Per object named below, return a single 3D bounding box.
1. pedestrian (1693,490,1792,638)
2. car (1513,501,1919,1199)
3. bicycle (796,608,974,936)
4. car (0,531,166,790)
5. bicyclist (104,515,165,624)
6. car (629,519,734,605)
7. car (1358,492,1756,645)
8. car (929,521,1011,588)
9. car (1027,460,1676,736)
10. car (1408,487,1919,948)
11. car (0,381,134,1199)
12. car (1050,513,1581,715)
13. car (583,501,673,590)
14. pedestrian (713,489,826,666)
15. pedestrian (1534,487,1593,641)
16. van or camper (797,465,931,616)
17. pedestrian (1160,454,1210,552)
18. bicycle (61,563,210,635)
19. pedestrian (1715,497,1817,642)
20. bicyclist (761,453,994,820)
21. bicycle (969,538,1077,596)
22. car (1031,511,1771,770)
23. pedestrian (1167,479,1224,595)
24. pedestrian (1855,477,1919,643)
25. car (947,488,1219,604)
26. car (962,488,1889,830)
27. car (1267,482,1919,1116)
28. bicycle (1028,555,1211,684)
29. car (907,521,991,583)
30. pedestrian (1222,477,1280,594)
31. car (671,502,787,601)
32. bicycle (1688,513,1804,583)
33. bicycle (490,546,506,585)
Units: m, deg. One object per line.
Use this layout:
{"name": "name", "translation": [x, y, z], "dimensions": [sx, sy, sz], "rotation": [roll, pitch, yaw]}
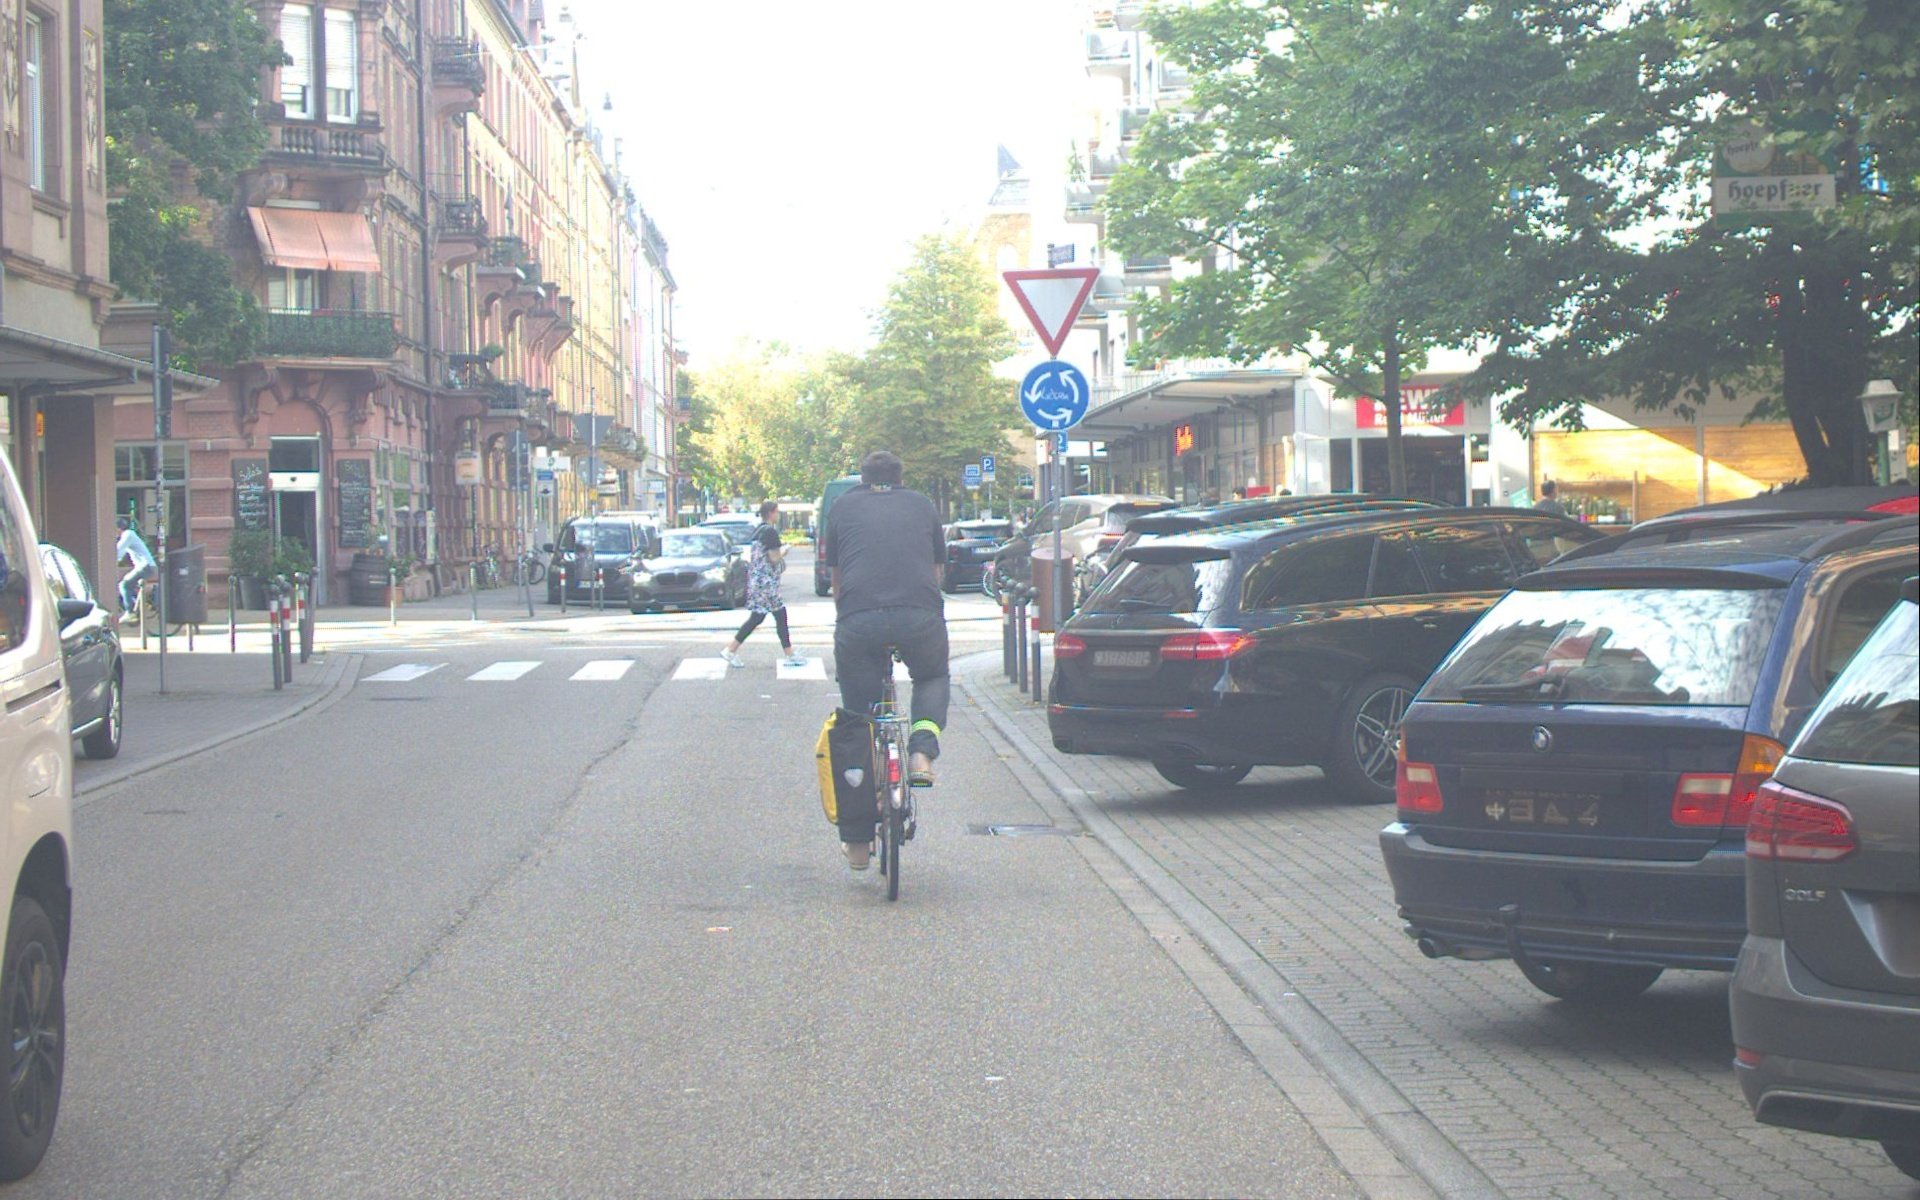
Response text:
{"name": "pedestrian", "translation": [7.489, -0.345, 32.922], "dimensions": [0.756, 1.387, 0.549], "rotation": [-1, 1, -6]}
{"name": "car", "translation": [3.425, 0.451, 7.643], "dimensions": [4.457, 1.472, 1.888], "rotation": [-6, 4, -42]}
{"name": "bicycle", "translation": [-0.335, 0.651, 14.164], "dimensions": [0.665, 1.174, 2.497], "rotation": [0, 1, -3]}
{"name": "car", "translation": [-6.271, 0.315, 21.102], "dimensions": [1.993, 1.415, 4.245], "rotation": [-1, 1, -3]}
{"name": "bicyclist", "translation": [-12.762, -0.474, 53.122], "dimensions": [0.854, 1.660, 0.790], "rotation": [0, 1, -19]}
{"name": "car", "translation": [-4.811, -0.655, 59.751], "dimensions": [1.749, 1.431, 4.212], "rotation": [0, 1, -4]}
{"name": "car", "translation": [7.852, -0.439, 45.529], "dimensions": [4.829, 1.718, 2.043], "rotation": [-3, 3, -2]}
{"name": "car", "translation": [0.206, -1.021, 75.257], "dimensions": [1.645, 1.320, 3.577], "rotation": [-4, 1, -1]}
{"name": "car", "translation": [2.862, -0.062, 24.933], "dimensions": [4.340, 1.639, 1.822], "rotation": [-4, 3, -28]}
{"name": "car", "translation": [3.683, 0.329, 13.438], "dimensions": [3.709, 1.480, 1.741], "rotation": [-4, 3, -40]}
{"name": "car", "translation": [-2.909, 0.476, 6.181], "dimensions": [1.917, 1.822, 4.439], "rotation": [0, 1, -2]}
{"name": "car", "translation": [2.869, 0.069, 27.571], "dimensions": [3.931, 1.452, 1.770], "rotation": [-2, 2, -30]}
{"name": "car", "translation": [-7.855, -1.304, 81.691], "dimensions": [1.993, 2.007, 4.001], "rotation": [-2, 1, -4]}
{"name": "pedestrian", "translation": [-1.947, -0.232, 35.199], "dimensions": [0.783, 1.773, 0.791], "rotation": [-1, 2, 36]}
{"name": "pedestrian", "translation": [6.903, -0.416, 39.349], "dimensions": [0.629, 1.733, 0.775], "rotation": [-1, 1, 10]}
{"name": "van or camper", "translation": [-2.065, -1.276, 72.587], "dimensions": [2.531, 3.026, 4.460], "rotation": [-1, 1, -4]}
{"name": "pedestrian", "translation": [3.796, -1.630, 57.974], "dimensions": [0.745, 1.623, 0.812], "rotation": [-1, 1, 9]}
{"name": "bicycle", "translation": [-12.738, -0.013, 53.141], "dimensions": [2.184, 1.088, 0.678], "rotation": [0, 1, -19]}
{"name": "pedestrian", "translation": [7.577, -0.292, 32.341], "dimensions": [0.756, 1.338, 0.597], "rotation": [-1, 1, -6]}
{"name": "bicyclist", "translation": [-0.348, 0.140, 14.210], "dimensions": [0.933, 1.478, 0.747], "rotation": [0, 1, -2]}
{"name": "bicycle", "translation": [1.182, -0.624, 64.716], "dimensions": [2.000, 1.042, 0.532], "rotation": [-1, 1, 1]}
{"name": "car", "translation": [2.870, 0.201, 22.270], "dimensions": [4.400, 1.452, 1.943], "rotation": [-2, 2, -27]}
{"name": "pedestrian", "translation": [3.777, -1.013, 55.235], "dimensions": [0.869, 1.845, 0.612], "rotation": [-1, 1, 3]}
{"name": "pedestrian", "translation": [8.162, -0.355, 29.523], "dimensions": [0.672, 1.402, 0.758], "rotation": [-1, 1, -6]}
{"name": "car", "translation": [1.780, -0.800, 50.870], "dimensions": [1.994, 1.612, 3.999], "rotation": [-2, 2, -35]}
{"name": "car", "translation": [2.608, 0.233, 18.946], "dimensions": [4.753, 1.451, 2.057], "rotation": [-4, 3, -30]}
{"name": "car", "translation": [3.263, 0.387, 10.542], "dimensions": [4.456, 1.459, 1.879], "rotation": [-5, 3, -37]}
{"name": "bicycle", "translation": [1.355, 0.172, 29.526], "dimensions": [0.548, 1.036, 1.857], "rotation": [-6, 2, -31]}
{"name": "car", "translation": [-0.307, -1.229, 86.723], "dimensions": [1.993, 1.481, 4.001], "rotation": [-2, 1, -1]}
{"name": "pedestrian", "translation": [4.673, -1.036, 55.180], "dimensions": [0.869, 1.845, 0.612], "rotation": [-1, 1, 3]}
{"name": "car", "translation": [-4.543, -1.002, 68.303], "dimensions": [1.942, 1.716, 4.850], "rotation": [-3, 3, 0]}
{"name": "bicycle", "translation": [12.076, -0.792, 52.828], "dimensions": [1.683, 1.047, 0.457], "rotation": [0, 2, 38]}
{"name": "bicycle", "translation": [-11.344, -0.846, 84.505], "dimensions": [0.360, 0.944, 1.716], "rotation": [0, 1, -7]}
